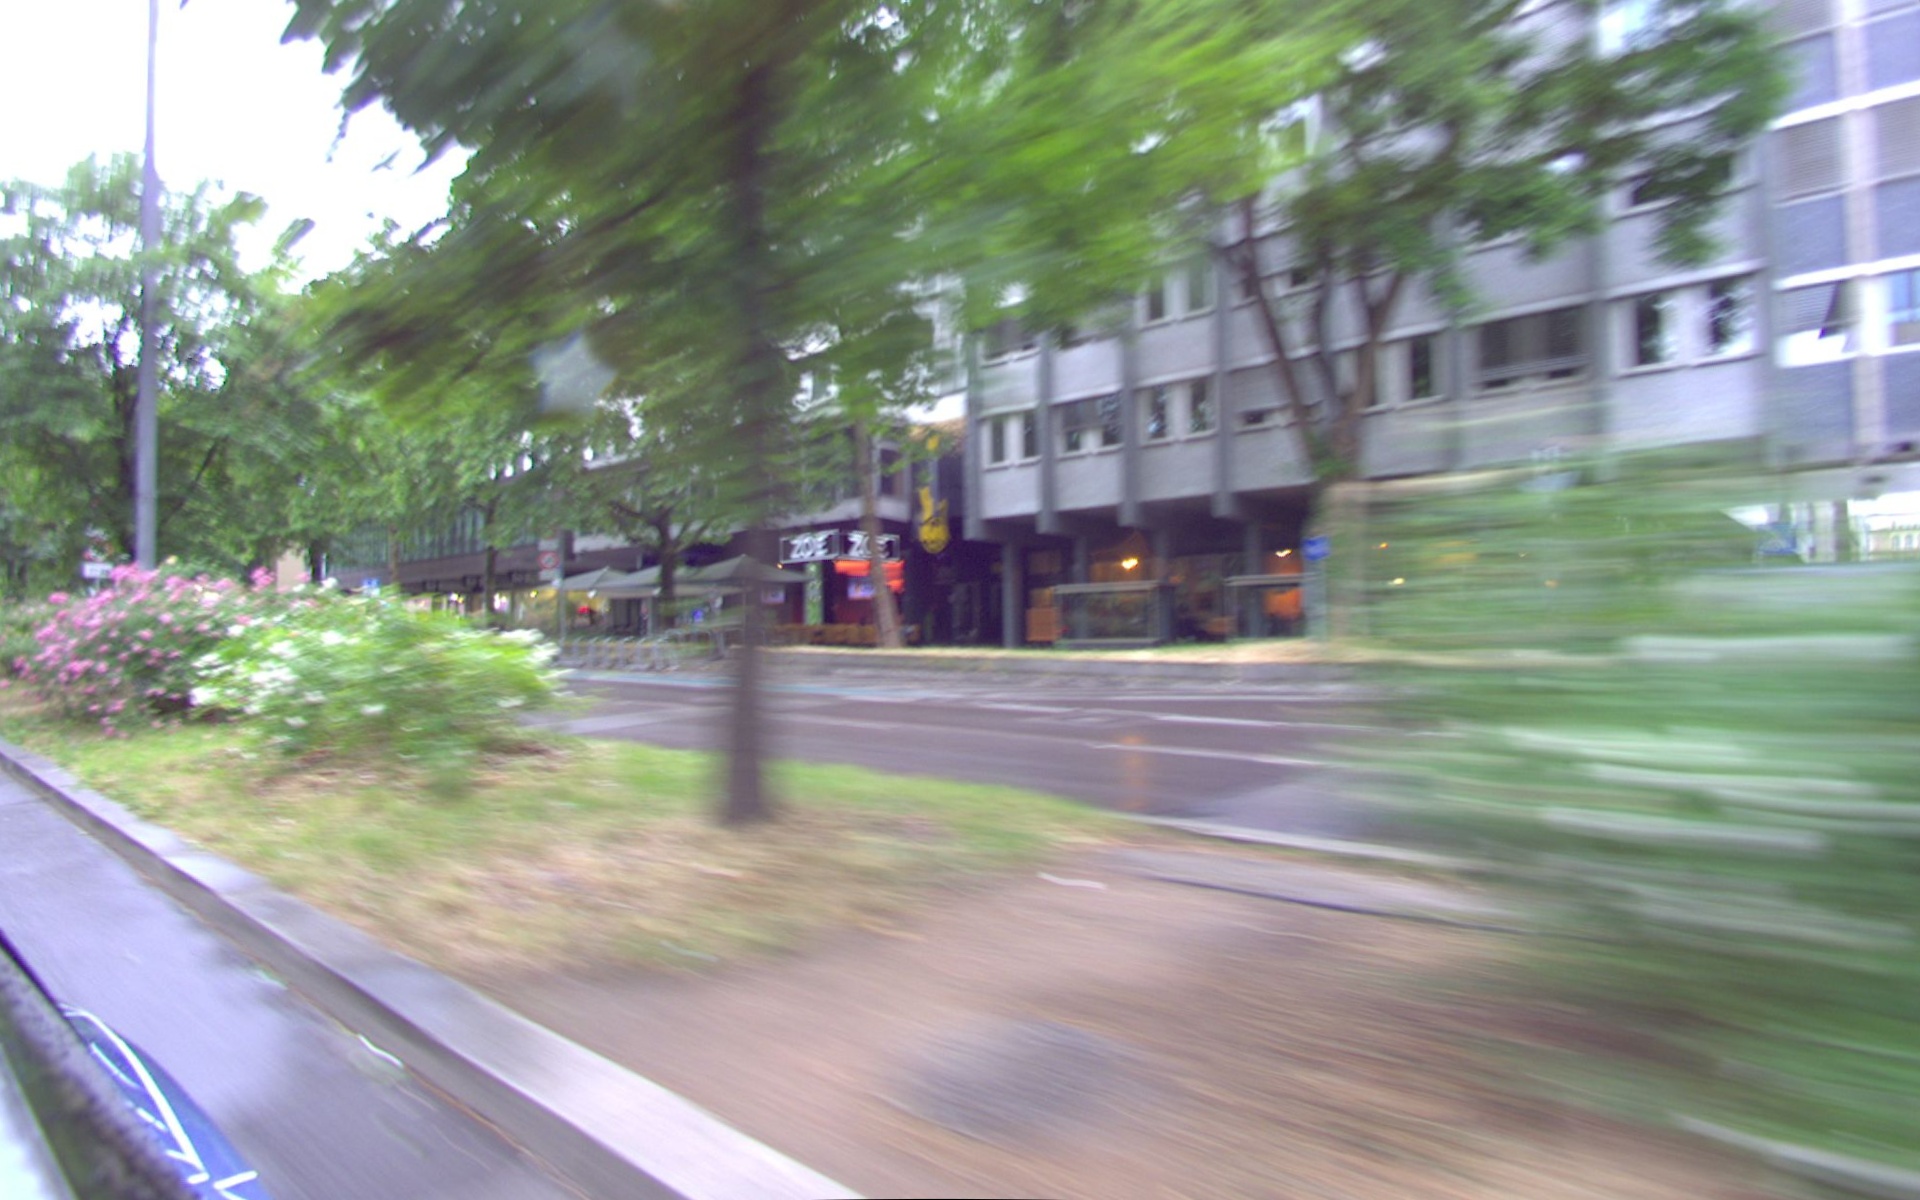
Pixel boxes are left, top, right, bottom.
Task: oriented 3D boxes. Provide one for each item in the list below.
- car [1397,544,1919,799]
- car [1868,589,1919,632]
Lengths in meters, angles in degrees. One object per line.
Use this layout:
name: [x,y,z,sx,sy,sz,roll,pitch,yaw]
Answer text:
car: [5.833,0.485,8.024,4.013,1.650,1.704,-2,-1,42]
car: [43.081,0.469,46.392,4.145,1.844,1.840,0,-1,-44]
